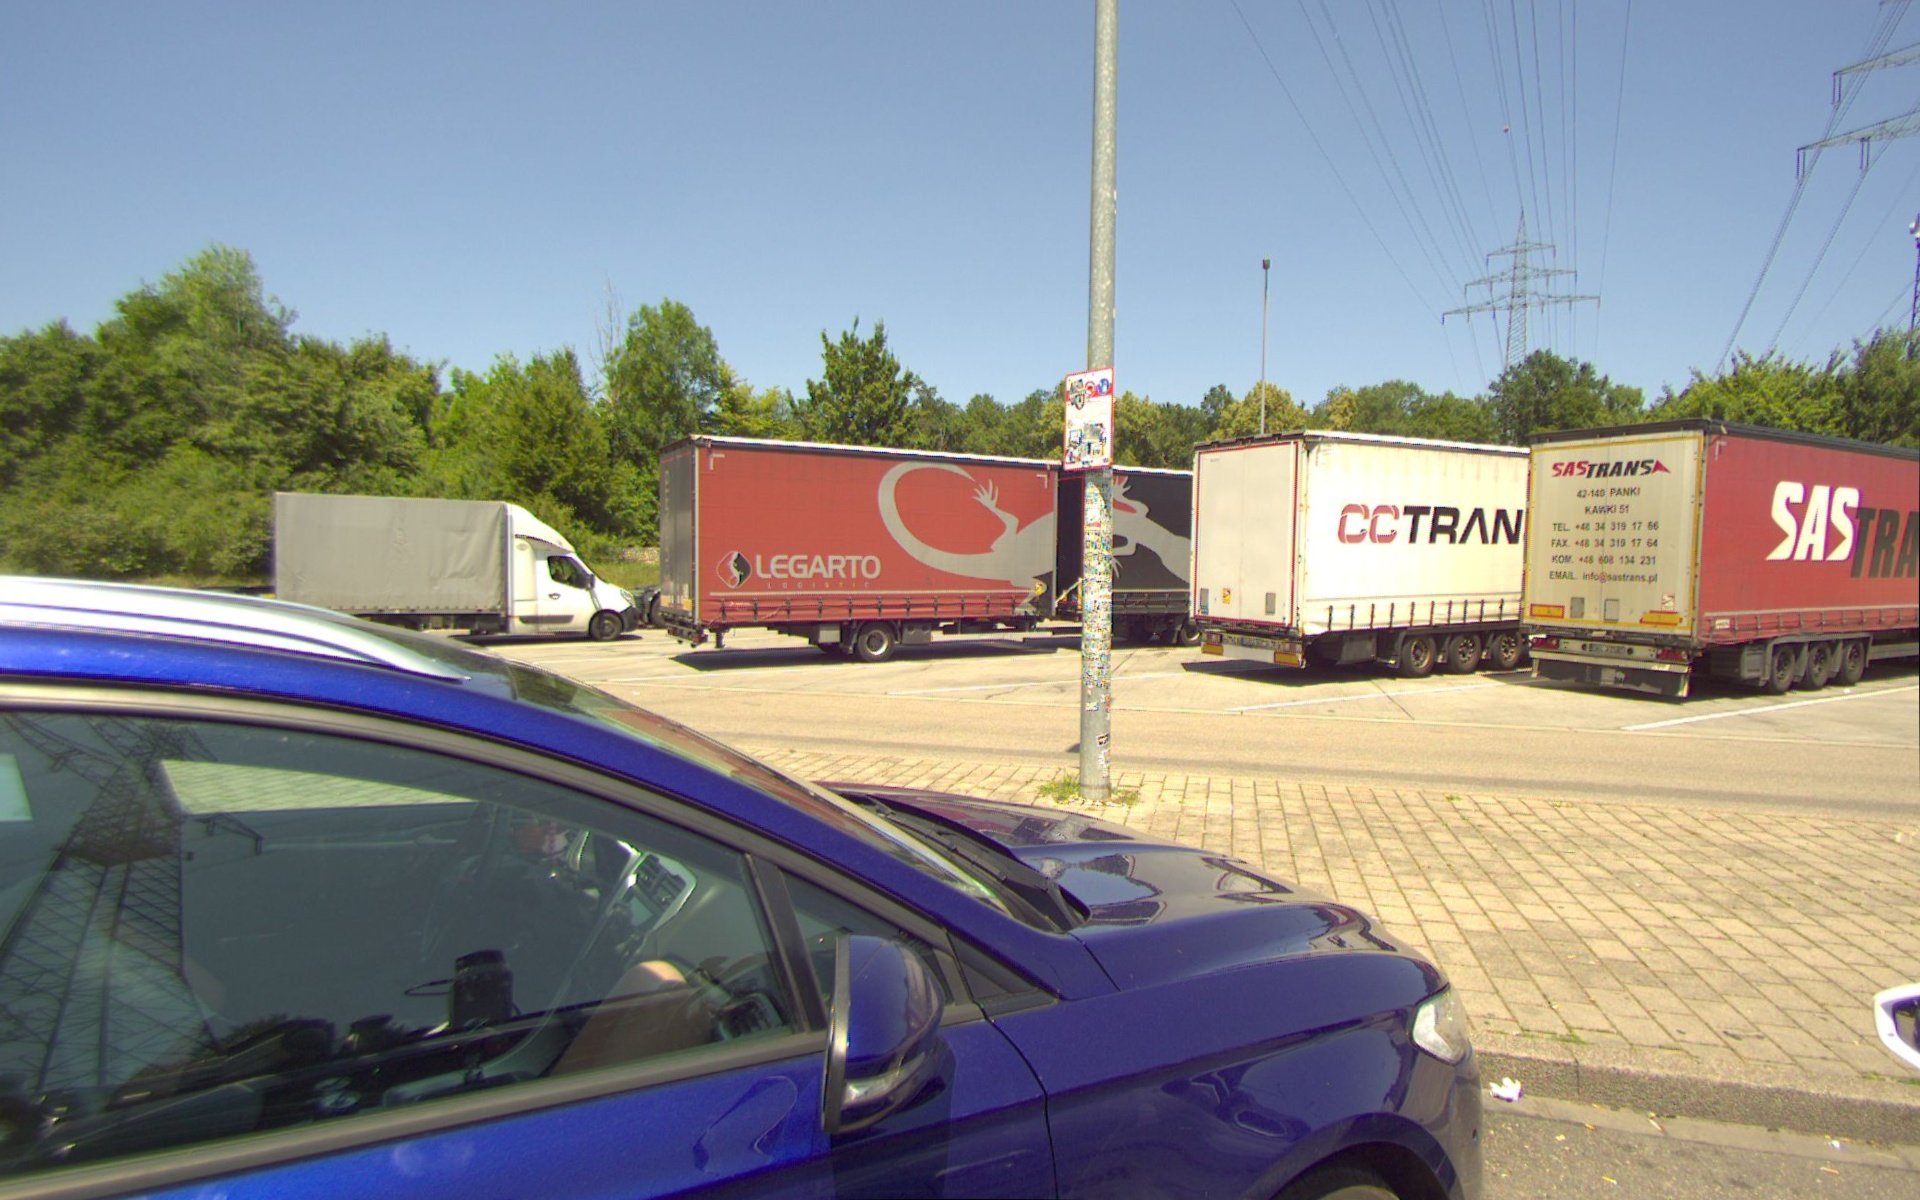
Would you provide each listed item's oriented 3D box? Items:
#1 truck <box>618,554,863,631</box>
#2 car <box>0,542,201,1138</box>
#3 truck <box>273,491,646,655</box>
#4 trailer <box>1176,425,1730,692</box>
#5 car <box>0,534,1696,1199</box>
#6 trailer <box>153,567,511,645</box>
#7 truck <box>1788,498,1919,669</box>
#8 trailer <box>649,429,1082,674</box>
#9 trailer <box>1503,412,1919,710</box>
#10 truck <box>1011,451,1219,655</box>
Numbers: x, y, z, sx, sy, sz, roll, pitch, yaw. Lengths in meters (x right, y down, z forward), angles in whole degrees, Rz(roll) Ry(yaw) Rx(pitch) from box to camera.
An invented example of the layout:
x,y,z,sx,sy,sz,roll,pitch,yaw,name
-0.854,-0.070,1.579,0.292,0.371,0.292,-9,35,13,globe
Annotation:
x,y,z,sx,sy,sz,roll,pitch,yaw,name
-6.331,-0.236,29.280,6.733,2.041,1.987,-1,1,-26,truck
-4.590,0.599,2.233,4.444,1.520,1.762,0,2,-32,car
-11.172,-0.629,23.030,7.204,3.279,2.727,-1,3,-29,truck
10.605,-0.807,20.346,13.962,4.141,2.782,-1,3,-30,trailer
-1.014,0.676,1.501,4.444,1.511,1.859,0,2,-32,car
-15.147,0.051,24.898,7.204,1.711,2.249,-1,3,-29,trailer
21.227,-0.402,22.015,5.829,3.373,2.837,-1,3,-30,truck
-1.725,-0.906,20.336,8.376,4.141,2.722,-1,3,-30,trailer
15.625,-0.699,18.736,13.962,4.141,2.777,-1,3,-30,trailer
3.587,-1.073,23.458,3.947,4.298,2.723,-1,3,-30,truck
